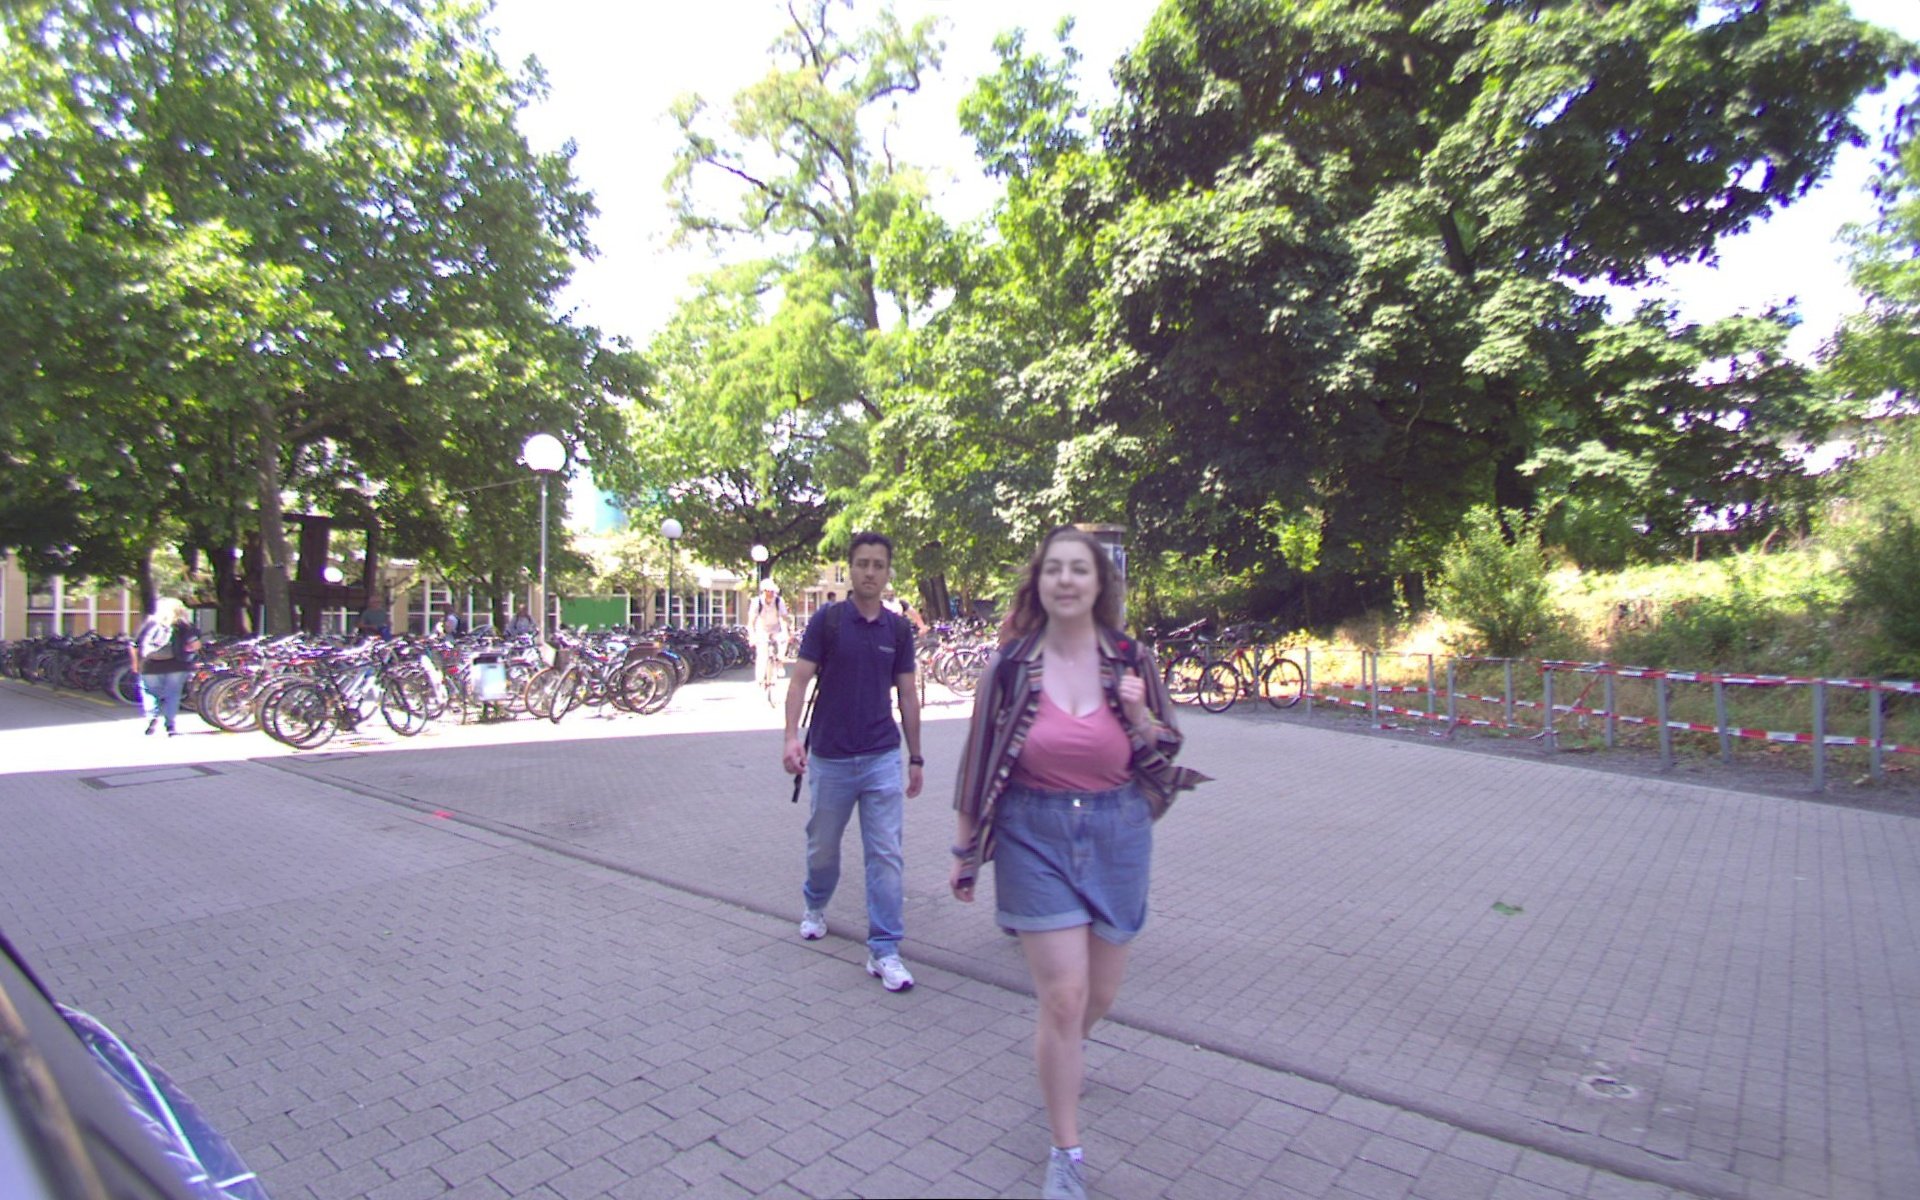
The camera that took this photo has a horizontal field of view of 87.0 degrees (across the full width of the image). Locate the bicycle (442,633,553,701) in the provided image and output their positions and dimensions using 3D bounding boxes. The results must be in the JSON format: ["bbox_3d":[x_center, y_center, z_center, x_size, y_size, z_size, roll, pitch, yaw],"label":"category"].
[{"bbox_3d":[-7.842,1.123,17.211,1.670,1.092,0.475,0,-1,-18],"label":"bicycle"}]

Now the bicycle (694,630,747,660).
[{"bbox_3d":[-8.819,1.650,37.254,1.834,1.092,0.474,-1,-1,3],"label":"bicycle"}]

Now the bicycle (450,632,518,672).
[{"bbox_3d":[-13.733,1.497,29.210,1.756,1.116,0.502,-1,-1,3],"label":"bicycle"}]

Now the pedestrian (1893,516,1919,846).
[{"bbox_3d":[5.391,0.416,5.065,0.722,1.737,0.685,-1,-2,4],"label":"pedestrian"}]

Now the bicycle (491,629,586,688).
[{"bbox_3d":[-8.260,1.139,19.881,1.671,1.092,0.475,0,-1,-14],"label":"bicycle"}]

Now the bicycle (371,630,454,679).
[{"bbox_3d":[-13.072,1.300,24.204,1.671,1.116,0.504,0,-1,-14],"label":"bicycle"}]

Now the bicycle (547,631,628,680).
[{"bbox_3d":[-8.542,1.269,23.237,1.674,1.092,0.474,-1,-1,-5],"label":"bicycle"}]

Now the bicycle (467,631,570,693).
[{"bbox_3d":[-8.139,1.128,18.704,1.671,1.092,0.475,0,-1,-14],"label":"bicycle"}]

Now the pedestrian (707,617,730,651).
[{"bbox_3d":[-12.140,1.702,50.897,0.727,1.697,0.863,-2,-3,37],"label":"pedestrian"}]

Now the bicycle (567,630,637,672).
[{"bbox_3d":[-9.407,1.339,26.621,1.677,1.092,0.474,-1,-1,3],"label":"bicycle"}]

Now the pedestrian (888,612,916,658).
[{"bbox_3d":[-2.298,1.396,40.221,0.765,1.788,0.900,-1,-1,22],"label":"pedestrian"}]

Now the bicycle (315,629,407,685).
[{"bbox_3d":[-13.357,1.261,22.604,1.671,1.209,0.577,0,-1,-14],"label":"bicycle"}]

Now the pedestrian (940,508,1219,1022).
[{"bbox_3d":[0.419,0.572,4.052,0.707,1.737,1.068,0,-2,-17],"label":"pedestrian"}]

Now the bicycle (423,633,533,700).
[{"bbox_3d":[-8.339,1.133,17.569,1.670,1.092,0.475,0,-1,-18],"label":"bicycle"}]

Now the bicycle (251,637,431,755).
[{"bbox_3d":[-6.849,1.023,11.284,0.472,1.168,1.681,-1,-1,31],"label":"bicycle"}]

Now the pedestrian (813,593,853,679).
[{"bbox_3d":[-2.812,0.782,22.323,0.821,1.829,0.884,-1,-1,-9],"label":"pedestrian"}]

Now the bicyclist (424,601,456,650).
[{"bbox_3d":[-20.792,1.034,40.477,0.795,1.906,0.867,-3,-2,3],"label":"bicyclist"}]

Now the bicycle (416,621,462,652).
[{"bbox_3d":[-20.789,1.428,40.439,0.795,1.181,1.884,-2,-1,3],"label":"bicycle"}]

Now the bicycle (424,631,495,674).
[{"bbox_3d":[-13.745,1.434,27.823,1.672,1.116,0.504,-1,-1,-9],"label":"bicycle"}]

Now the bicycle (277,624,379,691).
[{"bbox_3d":[-12.429,1.099,19.946,0.500,1.229,1.683,-1,-1,29],"label":"bicycle"}]

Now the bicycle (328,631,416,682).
[{"bbox_3d":[-13.470,1.294,23.215,1.671,1.116,0.504,0,-1,-14],"label":"bicycle"}]

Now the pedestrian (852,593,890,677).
[{"bbox_3d":[-1.984,0.759,22.438,0.758,1.817,0.985,-1,-1,-9],"label":"pedestrian"}]

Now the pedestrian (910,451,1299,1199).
[{"bbox_3d":[0.381,0.558,2.628,0.730,1.737,0.677,-1,-1,38],"label":"pedestrian"}]

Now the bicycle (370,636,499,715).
[{"bbox_3d":[-7.892,1.104,15.227,1.672,1.092,0.475,0,-1,-36],"label":"bicycle"}]

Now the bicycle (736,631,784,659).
[{"bbox_3d":[-7.998,1.787,40.453,1.834,1.092,0.474,-1,-1,3],"label":"bicycle"}]

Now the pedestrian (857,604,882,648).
[{"bbox_3d":[-3.510,1.000,39.330,0.761,1.692,0.905,-1,-1,7],"label":"pedestrian"}]

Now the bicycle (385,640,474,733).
[{"bbox_3d":[-6.859,1.077,13.055,1.700,1.092,0.501,-1,-1,44],"label":"bicycle"}]

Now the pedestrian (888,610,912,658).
[{"bbox_3d":[-2.237,1.265,37.794,0.761,1.788,0.905,-1,-1,7],"label":"pedestrian"}]

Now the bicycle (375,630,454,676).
[{"bbox_3d":[-13.705,1.326,25.454,1.672,1.116,0.504,-1,-1,-9],"label":"bicycle"}]

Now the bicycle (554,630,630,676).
[{"bbox_3d":[-8.881,1.280,24.455,1.677,1.092,0.474,-1,-1,3],"label":"bicycle"}]

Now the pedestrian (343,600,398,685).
[{"bbox_3d":[-12.838,0.914,22.052,0.701,1.820,0.768,-1,-1,7],"label":"pedestrian"}]

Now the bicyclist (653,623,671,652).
[{"bbox_3d":[-16.190,2.059,55.018,0.605,1.546,0.717,0,-1,42],"label":"bicyclist"}]

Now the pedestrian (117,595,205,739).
[{"bbox_3d":[-9.839,0.805,12.492,0.757,1.692,0.909,1,-2,-34],"label":"pedestrian"}]

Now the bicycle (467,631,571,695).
[{"bbox_3d":[-7.933,1.129,18.262,1.671,1.092,0.475,0,-1,-14],"label":"bicycle"}]

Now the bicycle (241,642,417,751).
[{"bbox_3d":[-7.189,1.066,11.607,0.473,1.099,1.680,-1,-1,34],"label":"bicycle"}]

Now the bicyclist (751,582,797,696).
[{"bbox_3d":[-2.675,0.547,14.509,0.585,1.580,0.723,0,-1,-14],"label":"bicyclist"}]

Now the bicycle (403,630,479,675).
[{"bbox_3d":[-13.639,1.374,26.608,1.672,1.116,0.633,-1,-1,-9],"label":"bicycle"}]

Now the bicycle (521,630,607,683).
[{"bbox_3d":[-8.595,1.221,21.998,1.674,1.092,0.474,-1,-1,-5],"label":"bicycle"}]

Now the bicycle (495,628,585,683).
[{"bbox_3d":[-8.669,1.139,20.922,1.671,1.092,0.475,0,-1,-14],"label":"bicycle"}]

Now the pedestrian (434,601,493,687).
[{"bbox_3d":[-10.216,0.879,20.829,0.894,1.716,0.770,0,-1,-45],"label":"pedestrian"}]

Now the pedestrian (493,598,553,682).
[{"bbox_3d":[-9.179,0.838,21.285,0.895,1.716,0.769,-1,-1,3],"label":"pedestrian"}]

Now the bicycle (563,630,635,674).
[{"bbox_3d":[-9.141,1.312,25.649,1.677,1.092,0.474,-1,-1,3],"label":"bicycle"}]

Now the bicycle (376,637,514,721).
[{"bbox_3d":[-7.262,1.087,14.309,1.672,1.092,0.475,0,-1,-37],"label":"bicycle"}]

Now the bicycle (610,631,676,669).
[{"bbox_3d":[-9.485,1.489,30.252,1.834,1.092,0.474,-1,-1,3],"label":"bicycle"}]

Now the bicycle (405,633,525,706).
[{"bbox_3d":[-7.912,1.102,16.236,1.671,1.092,0.475,0,-1,-14],"label":"bicycle"}]

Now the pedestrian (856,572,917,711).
[{"bbox_3d":[-1.035,0.558,14.067,0.603,1.849,1.053,0,-1,-19],"label":"pedestrian"}]

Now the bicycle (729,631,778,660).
[{"bbox_3d":[-8.130,1.777,39.806,1.834,1.092,0.474,-1,-1,3],"label":"bicycle"}]

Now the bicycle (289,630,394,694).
[{"bbox_3d":[-11.692,1.146,19.178,0.500,1.116,1.683,-1,-1,29],"label":"bicycle"}]

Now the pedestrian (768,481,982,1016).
[{"bbox_3d":[-0.383,0.524,4.058,0.674,1.849,0.944,0,-2,-15],"label":"pedestrian"}]

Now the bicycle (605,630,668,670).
[{"bbox_3d":[-9.271,1.430,29.038,1.677,1.092,0.474,-1,-1,3],"label":"bicycle"}]
